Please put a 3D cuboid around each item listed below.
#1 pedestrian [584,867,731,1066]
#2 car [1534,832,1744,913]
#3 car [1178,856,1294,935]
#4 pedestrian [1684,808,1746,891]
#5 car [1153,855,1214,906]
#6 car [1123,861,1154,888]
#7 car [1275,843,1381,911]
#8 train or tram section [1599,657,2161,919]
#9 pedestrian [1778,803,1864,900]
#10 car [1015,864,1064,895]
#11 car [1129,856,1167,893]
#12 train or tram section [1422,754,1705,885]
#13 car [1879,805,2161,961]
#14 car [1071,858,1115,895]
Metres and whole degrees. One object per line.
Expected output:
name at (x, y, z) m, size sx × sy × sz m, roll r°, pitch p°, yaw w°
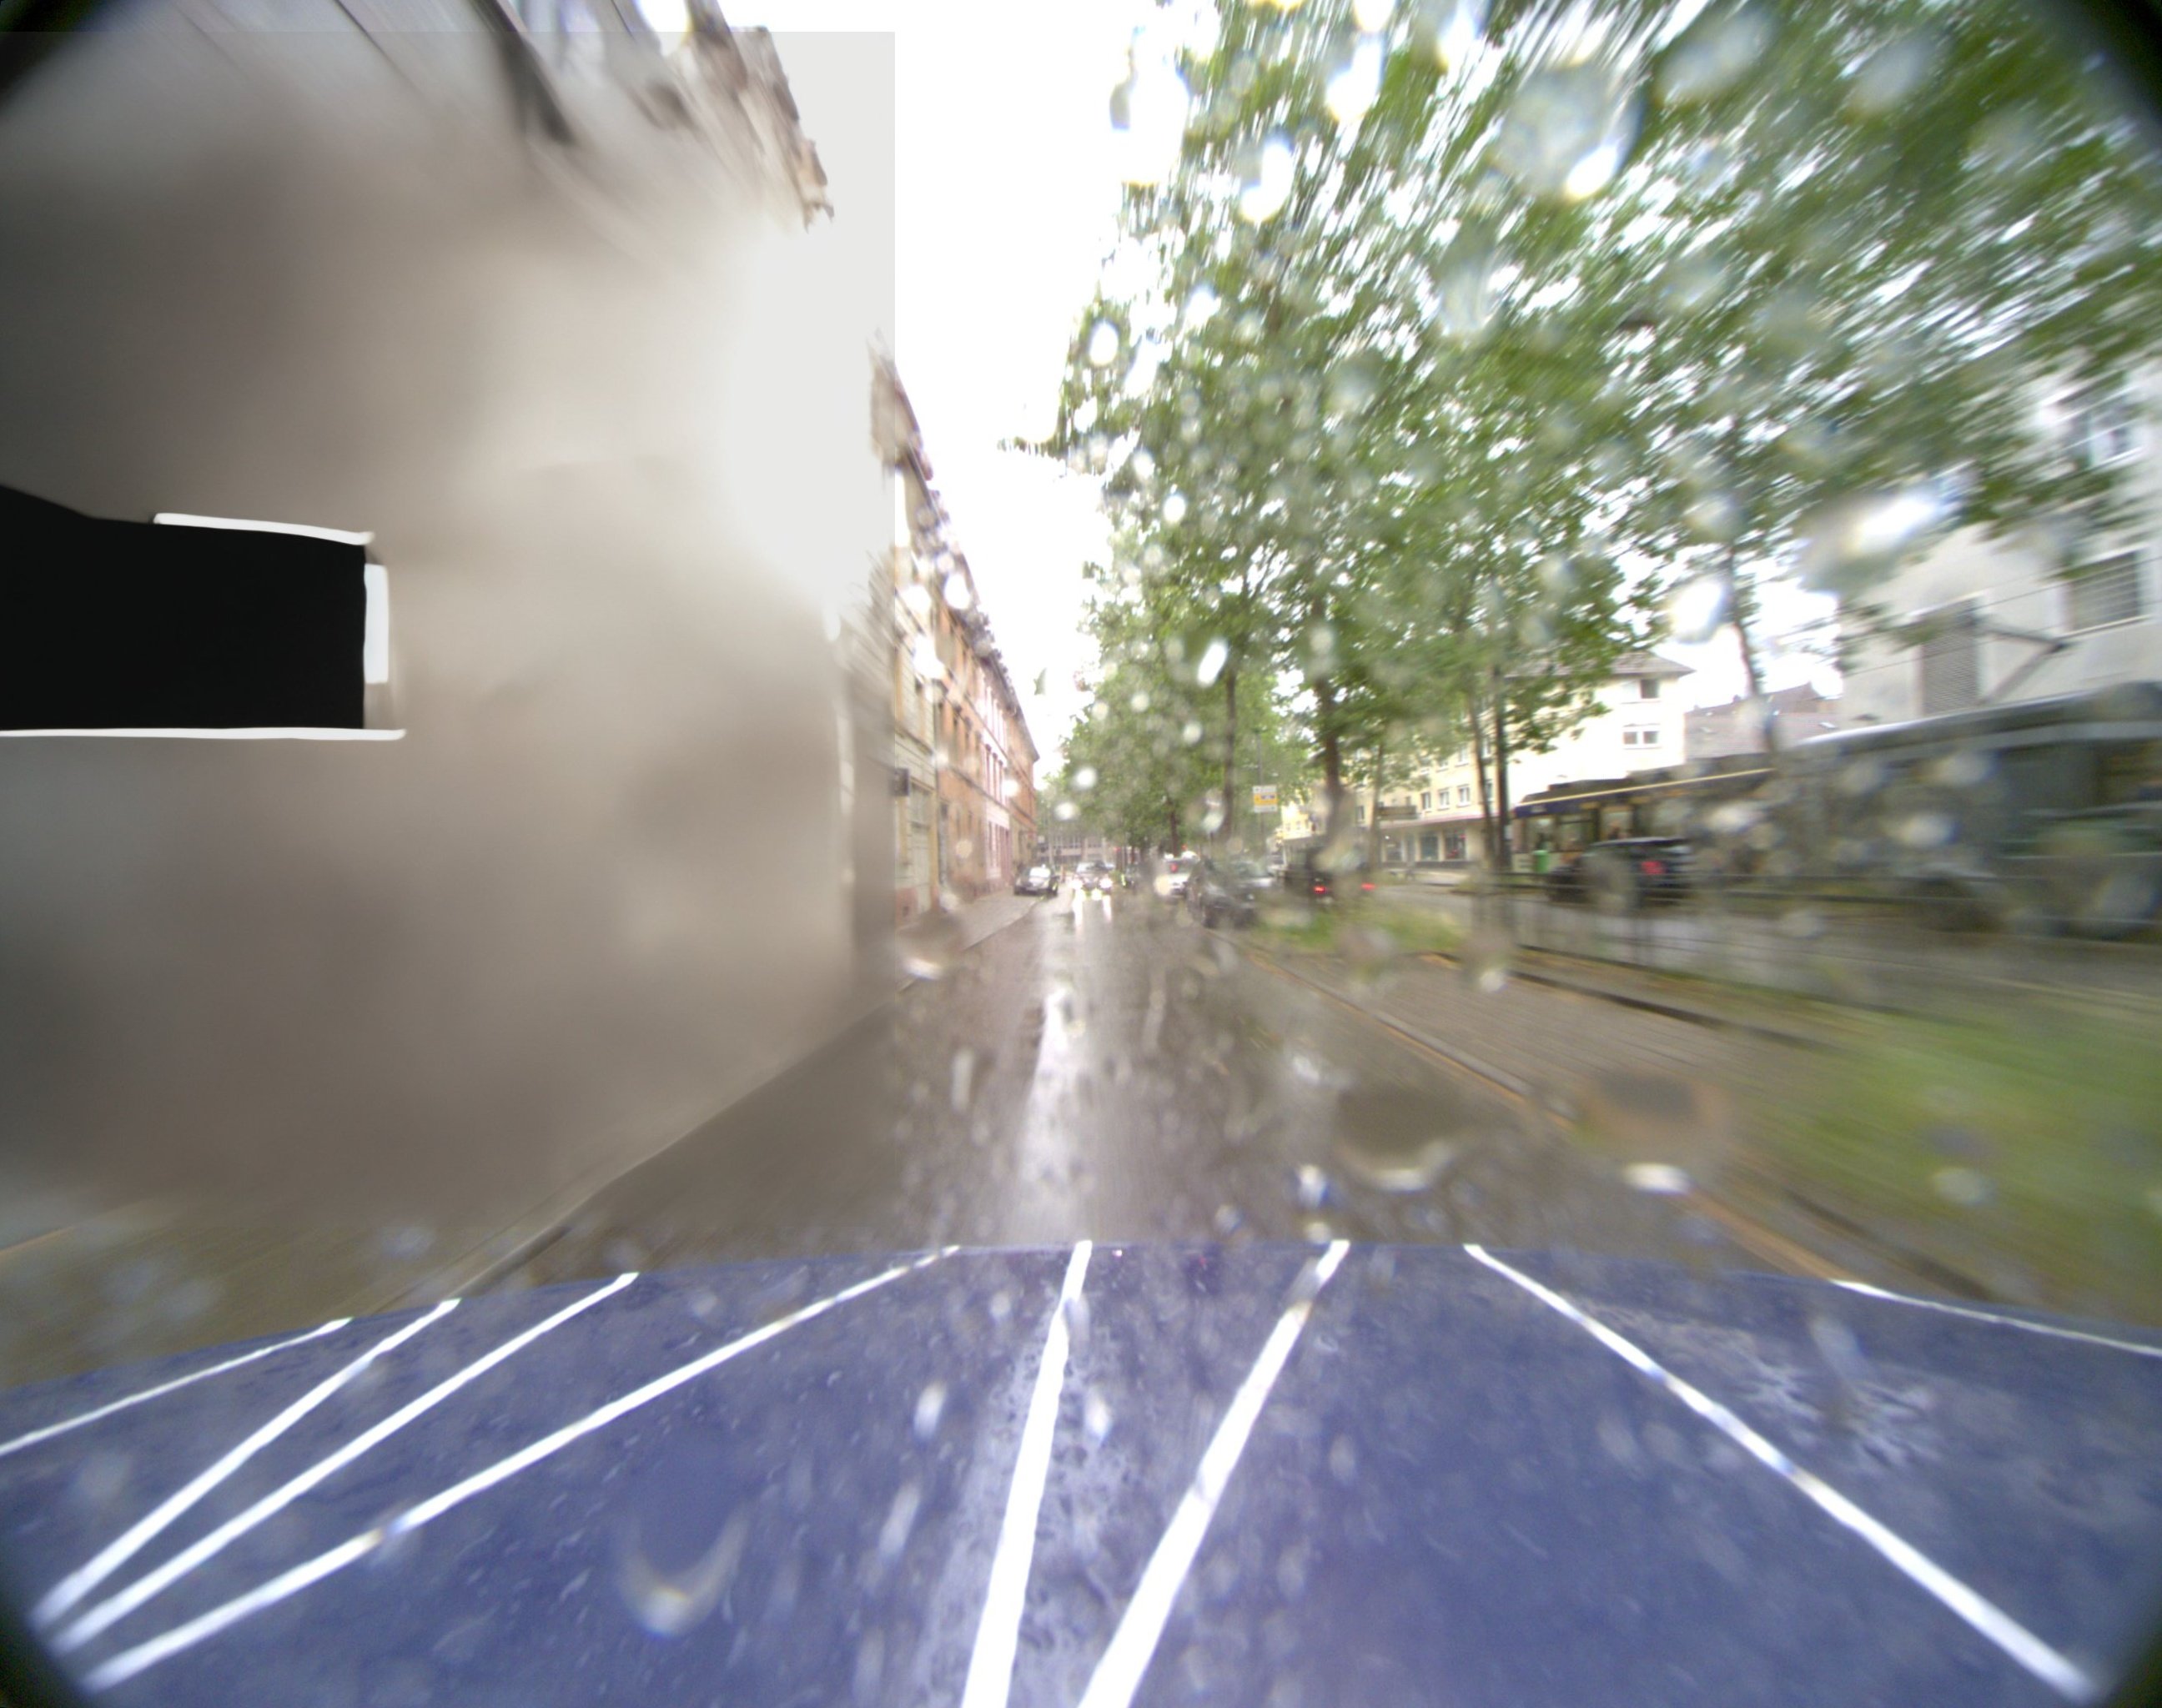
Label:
pedestrian at (-3.545, 0.913, 6.413) m, size 0.849 × 1.564 × 0.576 m, roll 3°, pitch 0°, yaw 0°
car at (11.790, 0.375, 16.412) m, size 1.676 × 1.376 × 3.705 m, roll -6°, pitch 0°, yaw 0°
car at (3.337, 0.837, 17.083) m, size 1.732 × 1.473 × 4.006 m, roll -3°, pitch 0°, yaw 0°
pedestrian at (14.064, -0.089, 16.882) m, size 0.959 × 1.773 × 0.819 m, roll -3°, pitch 0°, yaw 38°
car at (3.474, 0.884, 26.246) m, size 1.572 × 1.567 × 3.328 m, roll -3°, pitch 0°, yaw 0°
car at (3.361, 1.186, 44.972) m, size 1.664 × 1.420 × 3.423 m, roll -3°, pitch 0°, yaw 2°
car at (6.772, 0.607, 21.225) m, size 1.676 × 1.653 × 3.649 m, roll -3°, pitch 0°, yaw 0°
train or tram section at (16.455, -0.997, 16.173) m, size 2.907 × 3.621 × 11.551 m, roll -3°, pitch 0°, yaw 0°
pedestrian at (14.179, -0.043, 14.589) m, size 0.960 × 1.773 × 0.819 m, roll -3°, pitch 0°, yaw 31°
car at (-2.012, 1.250, 37.915) m, size 1.976 × 1.359 × 4.162 m, roll 2°, pitch 0°, yaw 2°
car at (3.235, 0.937, 36.196) m, size 1.663 × 1.567 × 3.424 m, roll -3°, pitch 0°, yaw 6°
train or tram section at (16.549, -1.014, 27.755) m, size 2.907 × 3.621 × 11.551 m, roll -3°, pitch 0°, yaw 0°
car at (11.823, 0.262, 8.397) m, size 1.676 × 1.500 × 3.974 m, roll -6°, pitch 0°, yaw 0°
car at (0.668, 1.082, 37.848) m, size 1.976 × 1.629 × 4.162 m, roll -2°, pitch 0°, yaw 3°
